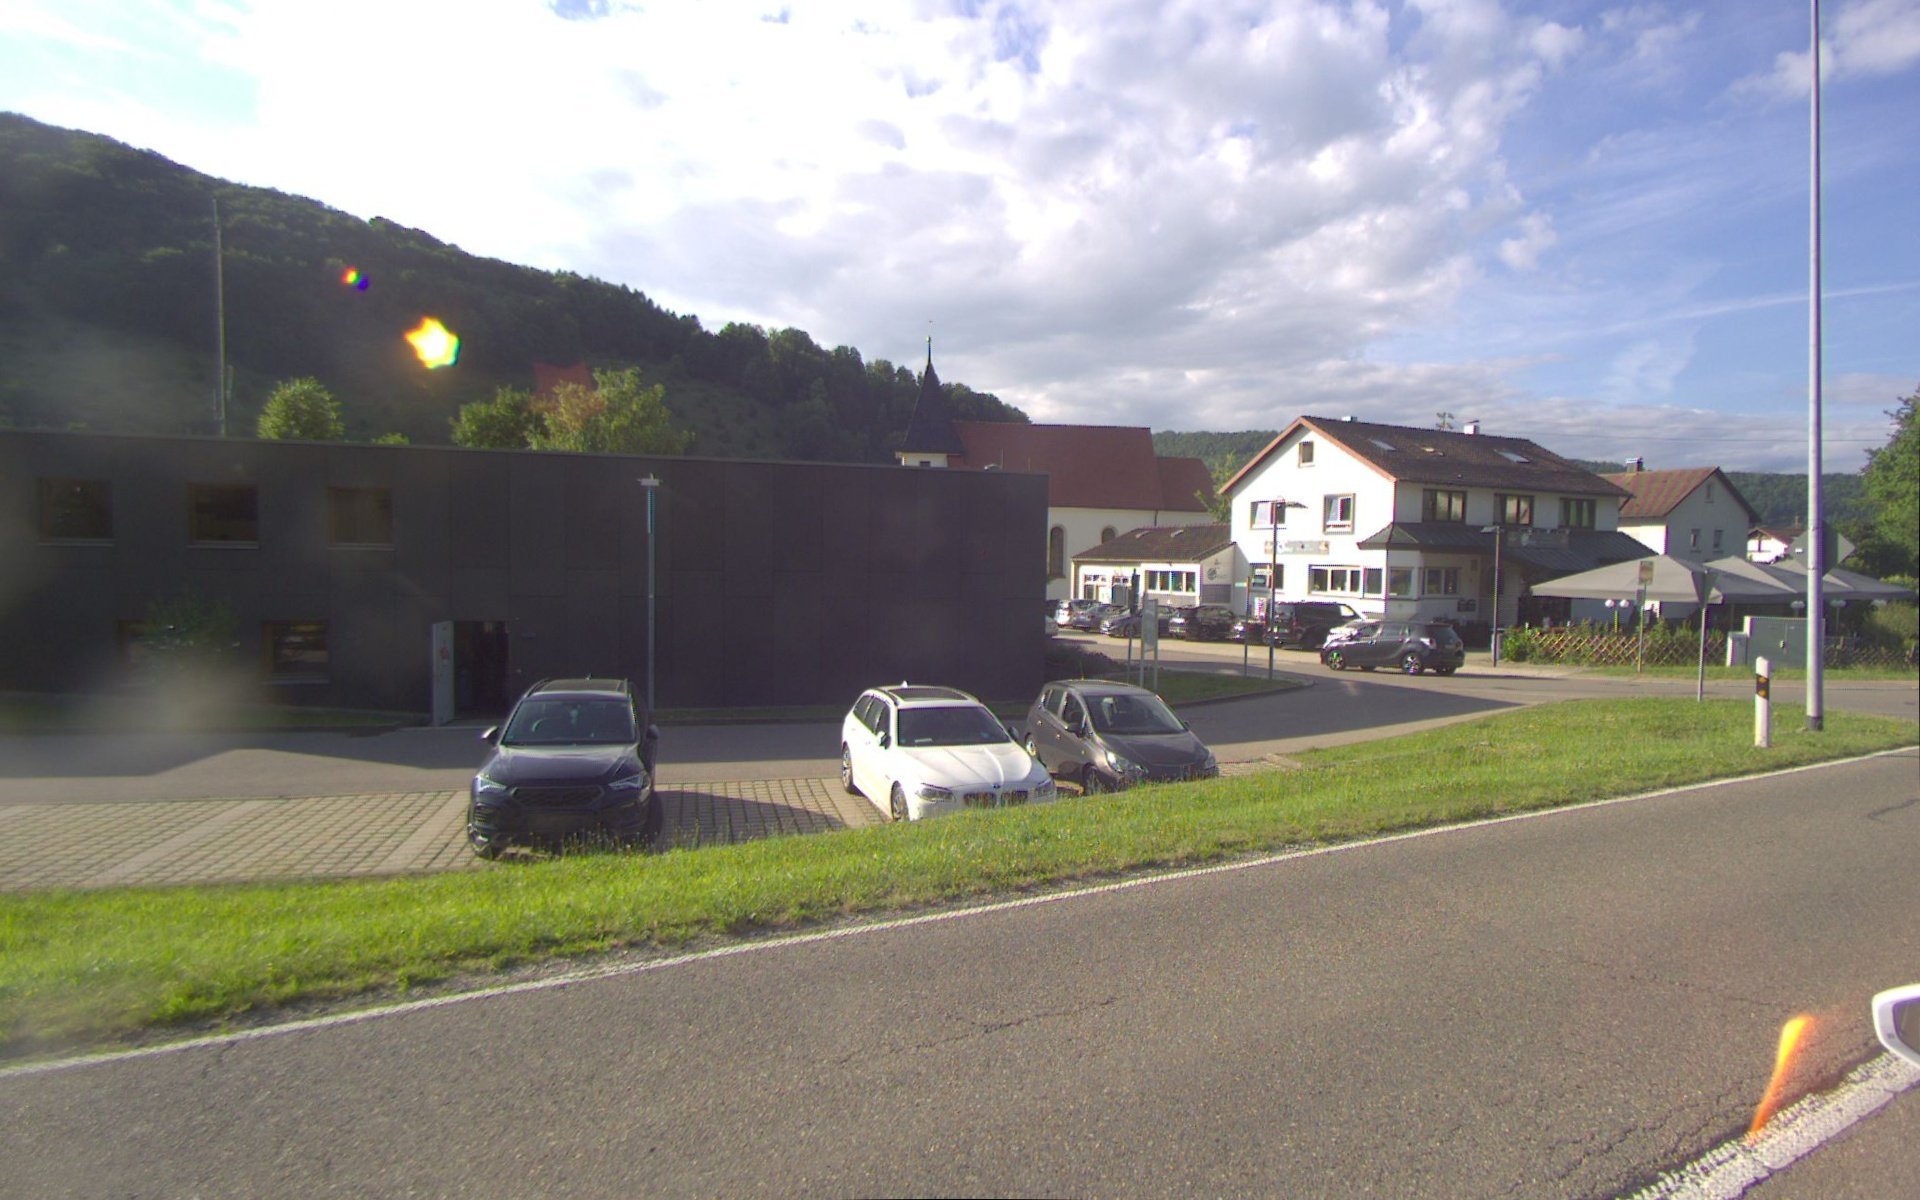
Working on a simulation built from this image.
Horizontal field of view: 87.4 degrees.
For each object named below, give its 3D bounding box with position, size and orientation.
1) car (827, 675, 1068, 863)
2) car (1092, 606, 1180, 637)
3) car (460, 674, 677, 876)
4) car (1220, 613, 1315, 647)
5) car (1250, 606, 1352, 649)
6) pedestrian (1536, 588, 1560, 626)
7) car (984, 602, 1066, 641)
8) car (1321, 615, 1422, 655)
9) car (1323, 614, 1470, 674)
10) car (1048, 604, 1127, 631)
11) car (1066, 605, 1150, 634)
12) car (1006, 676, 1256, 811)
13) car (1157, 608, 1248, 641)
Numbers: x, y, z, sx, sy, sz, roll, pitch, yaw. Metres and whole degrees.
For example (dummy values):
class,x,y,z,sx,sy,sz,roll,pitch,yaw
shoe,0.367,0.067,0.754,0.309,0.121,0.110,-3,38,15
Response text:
class,x,y,z,sx,sy,sz,roll,pitch,yaw
car,-0.402,1.952,12.942,1.850,1.513,4.812,2,0,-16
car,8.578,1.067,48.968,3.950,1.372,1.834,2,0,-28
car,-4.412,1.868,11.908,1.968,1.659,4.024,2,0,-16
car,13.799,1.349,45.034,3.953,1.372,1.833,2,0,-30
car,14.414,1.182,42.446,3.952,1.684,1.879,2,0,-29
pedestrian,24.188,0.298,41.292,0.582,1.523,0.606,2,0,-29
car,3.003,0.989,47.438,1.788,1.661,4.430,2,0,-28
car,16.376,1.387,39.944,3.952,1.469,1.549,2,0,-29
car,13.429,1.317,31.120,1.730,1.661,3.972,2,0,-27
car,7.032,0.963,55.235,3.950,1.372,1.834,2,0,-28
car,7.676,1.005,52.058,3.950,1.372,1.834,2,0,-28
car,2.243,1.902,14.289,1.734,1.327,3.981,2,0,-20
car,11.349,1.139,46.895,3.953,1.372,1.833,2,0,-30
